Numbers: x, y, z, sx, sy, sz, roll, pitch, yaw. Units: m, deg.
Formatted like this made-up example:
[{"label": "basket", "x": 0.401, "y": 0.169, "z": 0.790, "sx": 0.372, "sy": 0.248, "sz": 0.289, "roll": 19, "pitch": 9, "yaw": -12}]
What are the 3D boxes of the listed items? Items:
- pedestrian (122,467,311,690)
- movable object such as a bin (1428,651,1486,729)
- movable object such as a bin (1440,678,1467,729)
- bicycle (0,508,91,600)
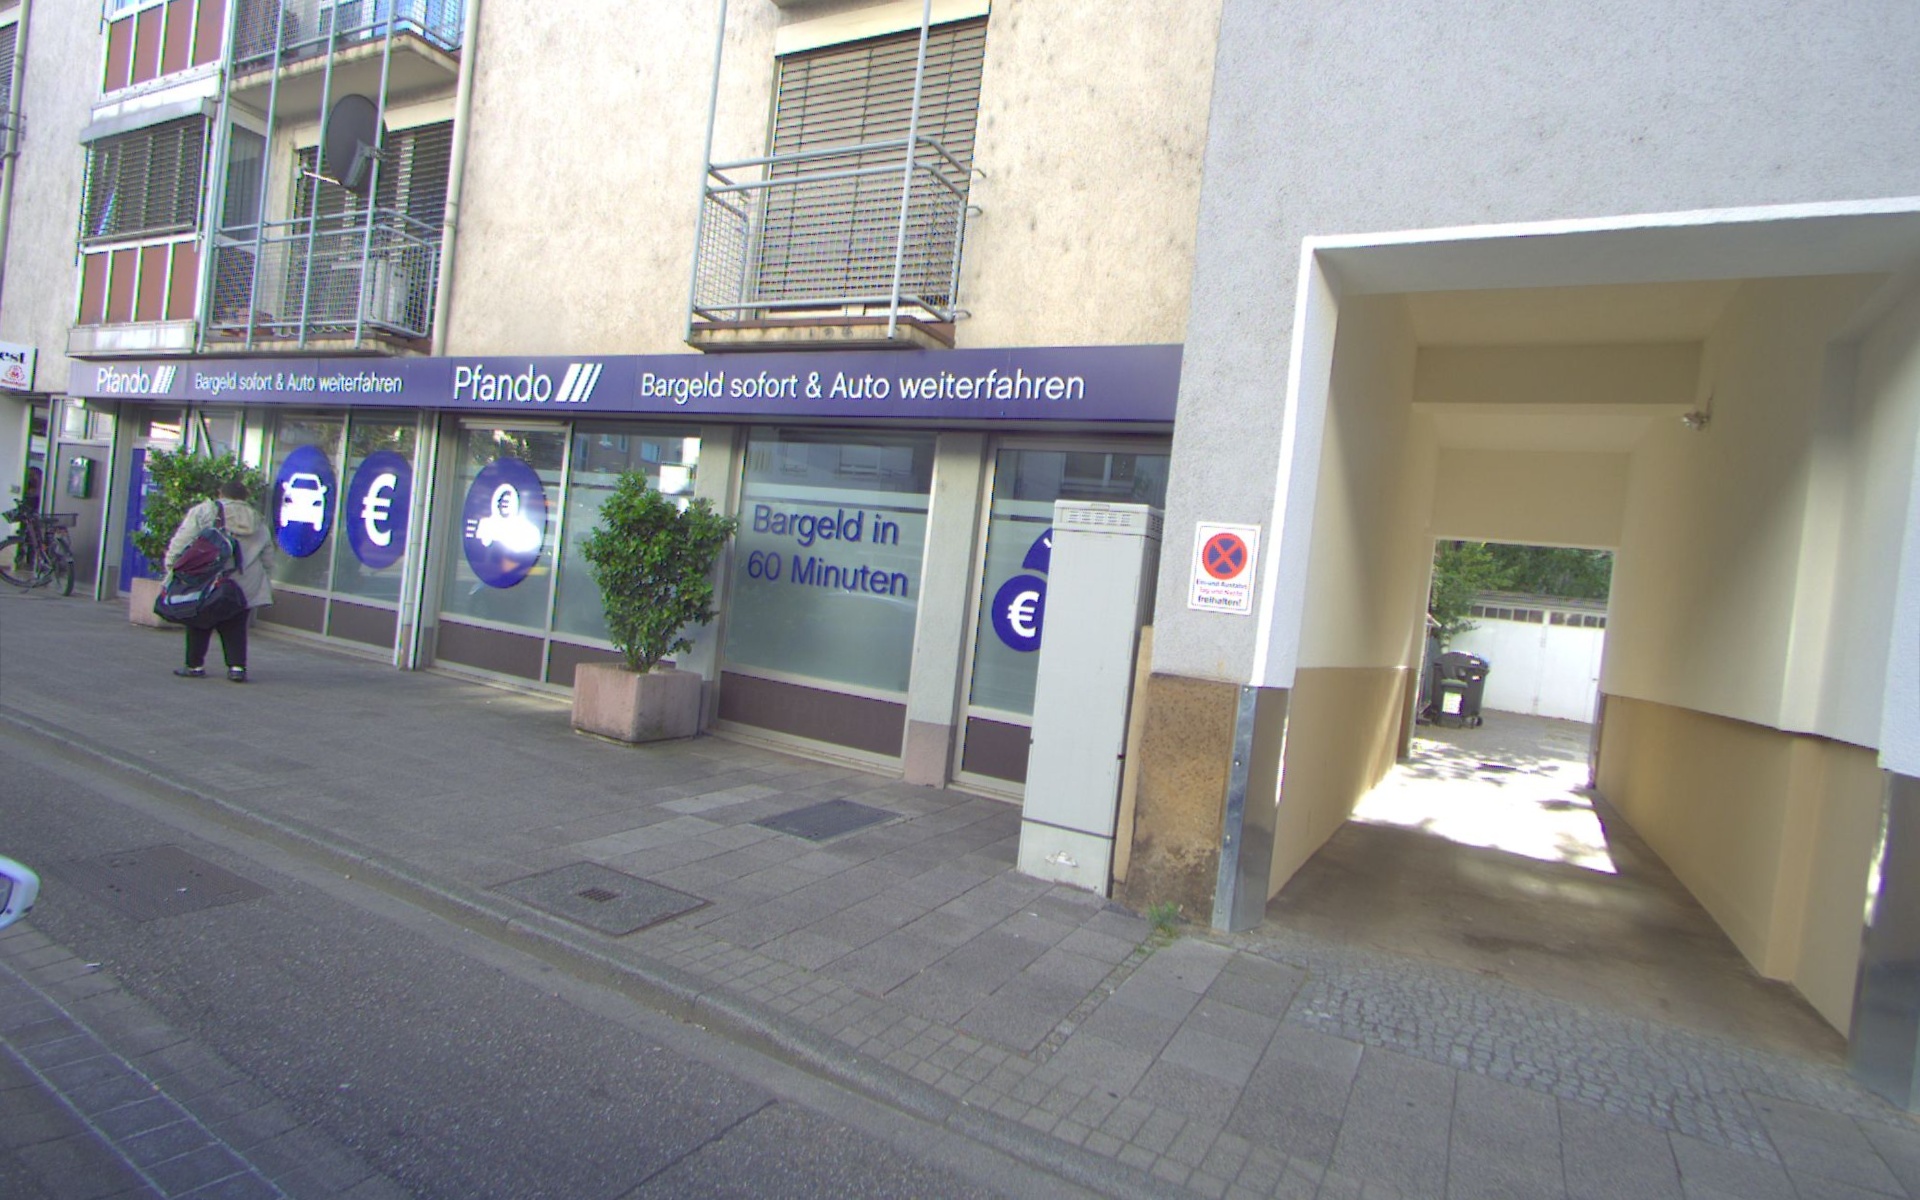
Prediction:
[{"label": "pedestrian", "x": -5.849, "y": -0.152, "z": 7.934, "sx": 0.738, "sy": 1.611, "sz": 0.827, "roll": 6, "pitch": -1, "yaw": 31}, {"label": "movable object such as a bin", "x": 9.961, "y": 1.786, "z": 20.148, "sx": 0.873, "sy": 1.411, "sz": 0.758, "roll": 7, "pitch": 2, "yaw": 28}, {"label": "movable object such as a bin", "x": 9.570, "y": 2.004, "z": 19.493, "sx": 0.365, "sy": 0.920, "sz": 0.420, "roll": 7, "pitch": 2, "yaw": 28}, {"label": "bicycle", "x": -11.811, "y": -0.611, "z": 12.824, "sx": 1.678, "sy": 1.010, "sz": 0.543, "roll": 6, "pitch": -1, "yaw": 32}]
